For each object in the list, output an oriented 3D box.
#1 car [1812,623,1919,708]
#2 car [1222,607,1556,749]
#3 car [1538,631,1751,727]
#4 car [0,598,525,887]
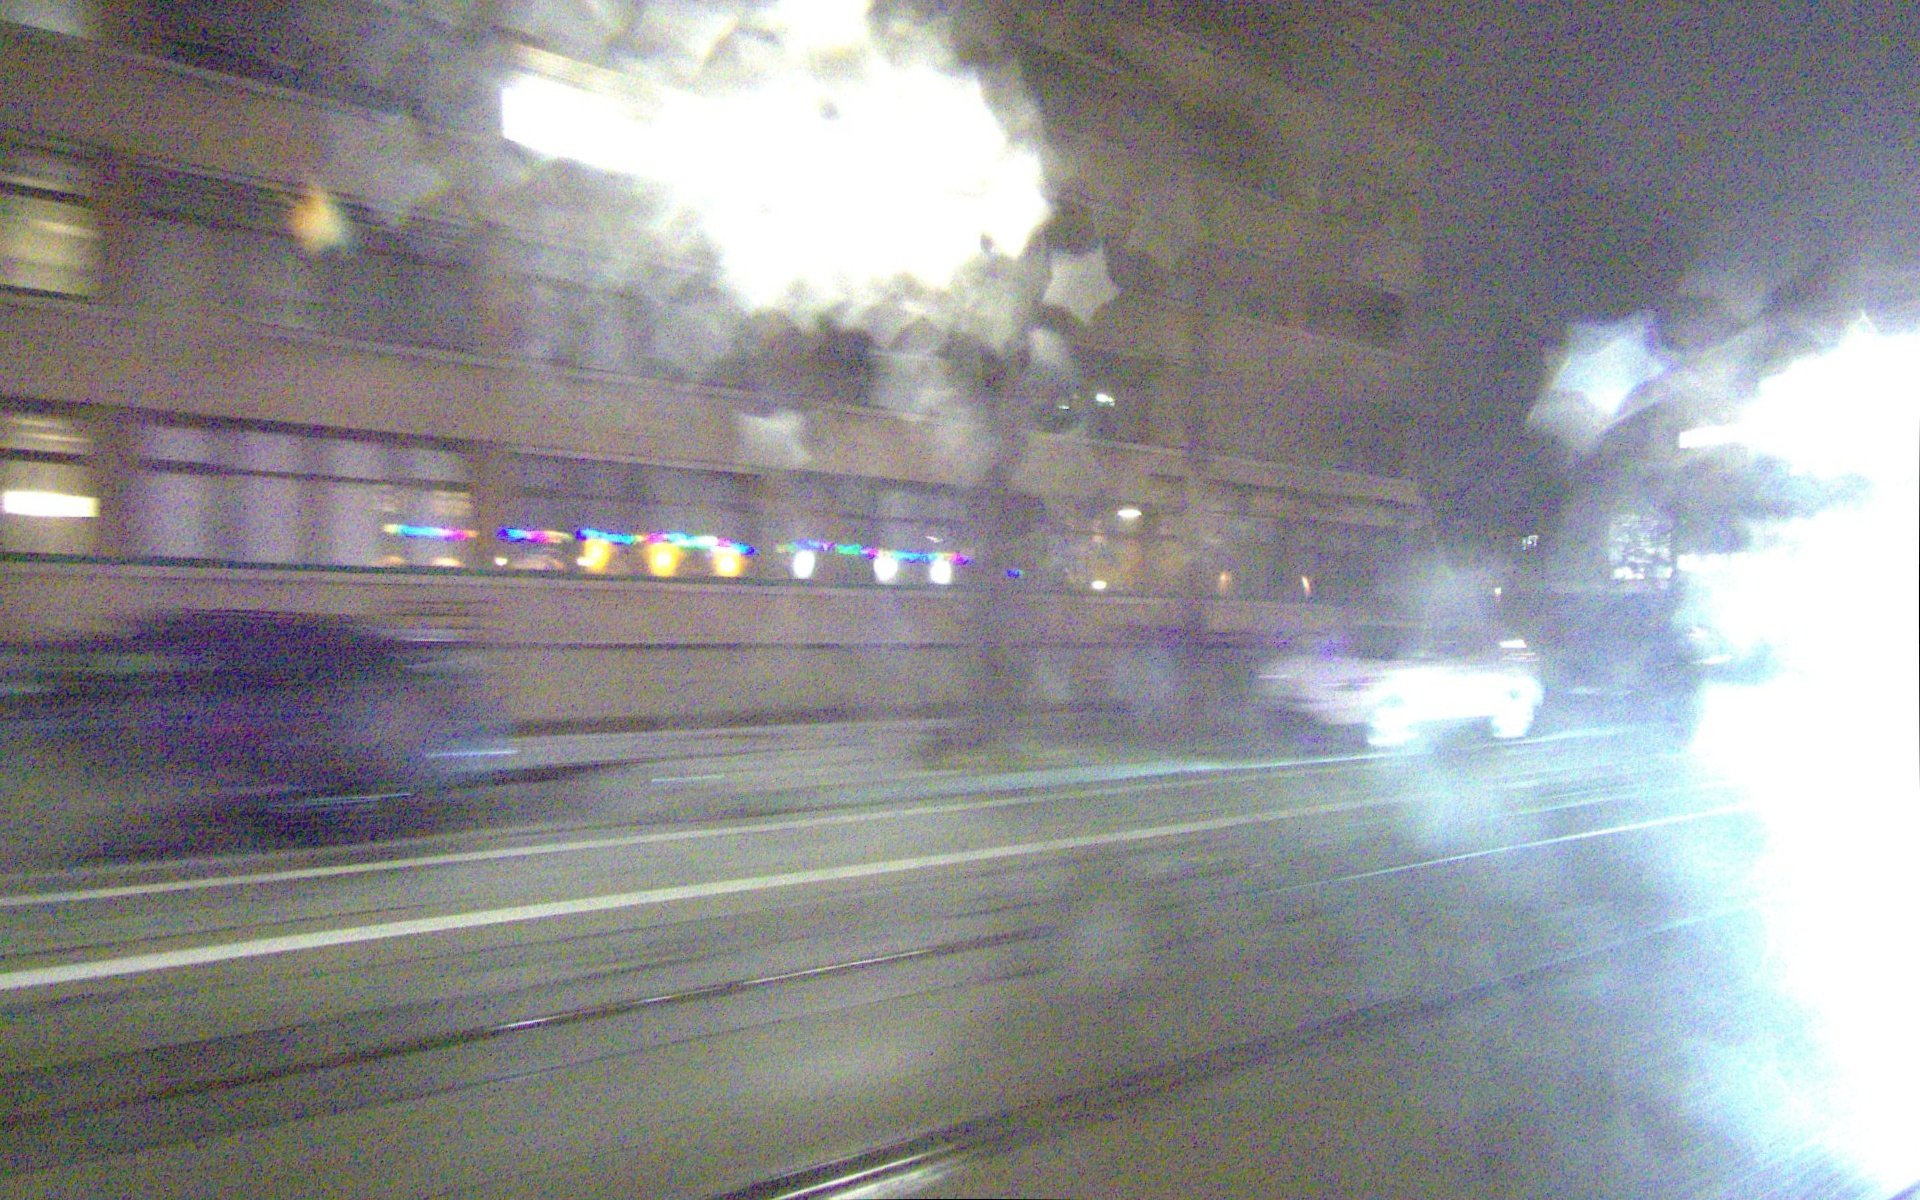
[{"bbox_3d":[21.470,1.436,22.655,4.545,1.678,1.960,2,1,-29],"label":"car"},{"bbox_3d":[5.903,0.979,13.710,4.465,1.653,1.973,2,-1,-31],"label":"car"},{"bbox_3d":[11.699,1.258,17.102,3.873,1.440,1.681,1,-2,-34],"label":"car"},{"bbox_3d":[-5.487,0.837,6.862,4.353,1.566,1.869,2,2,-34],"label":"car"}]
